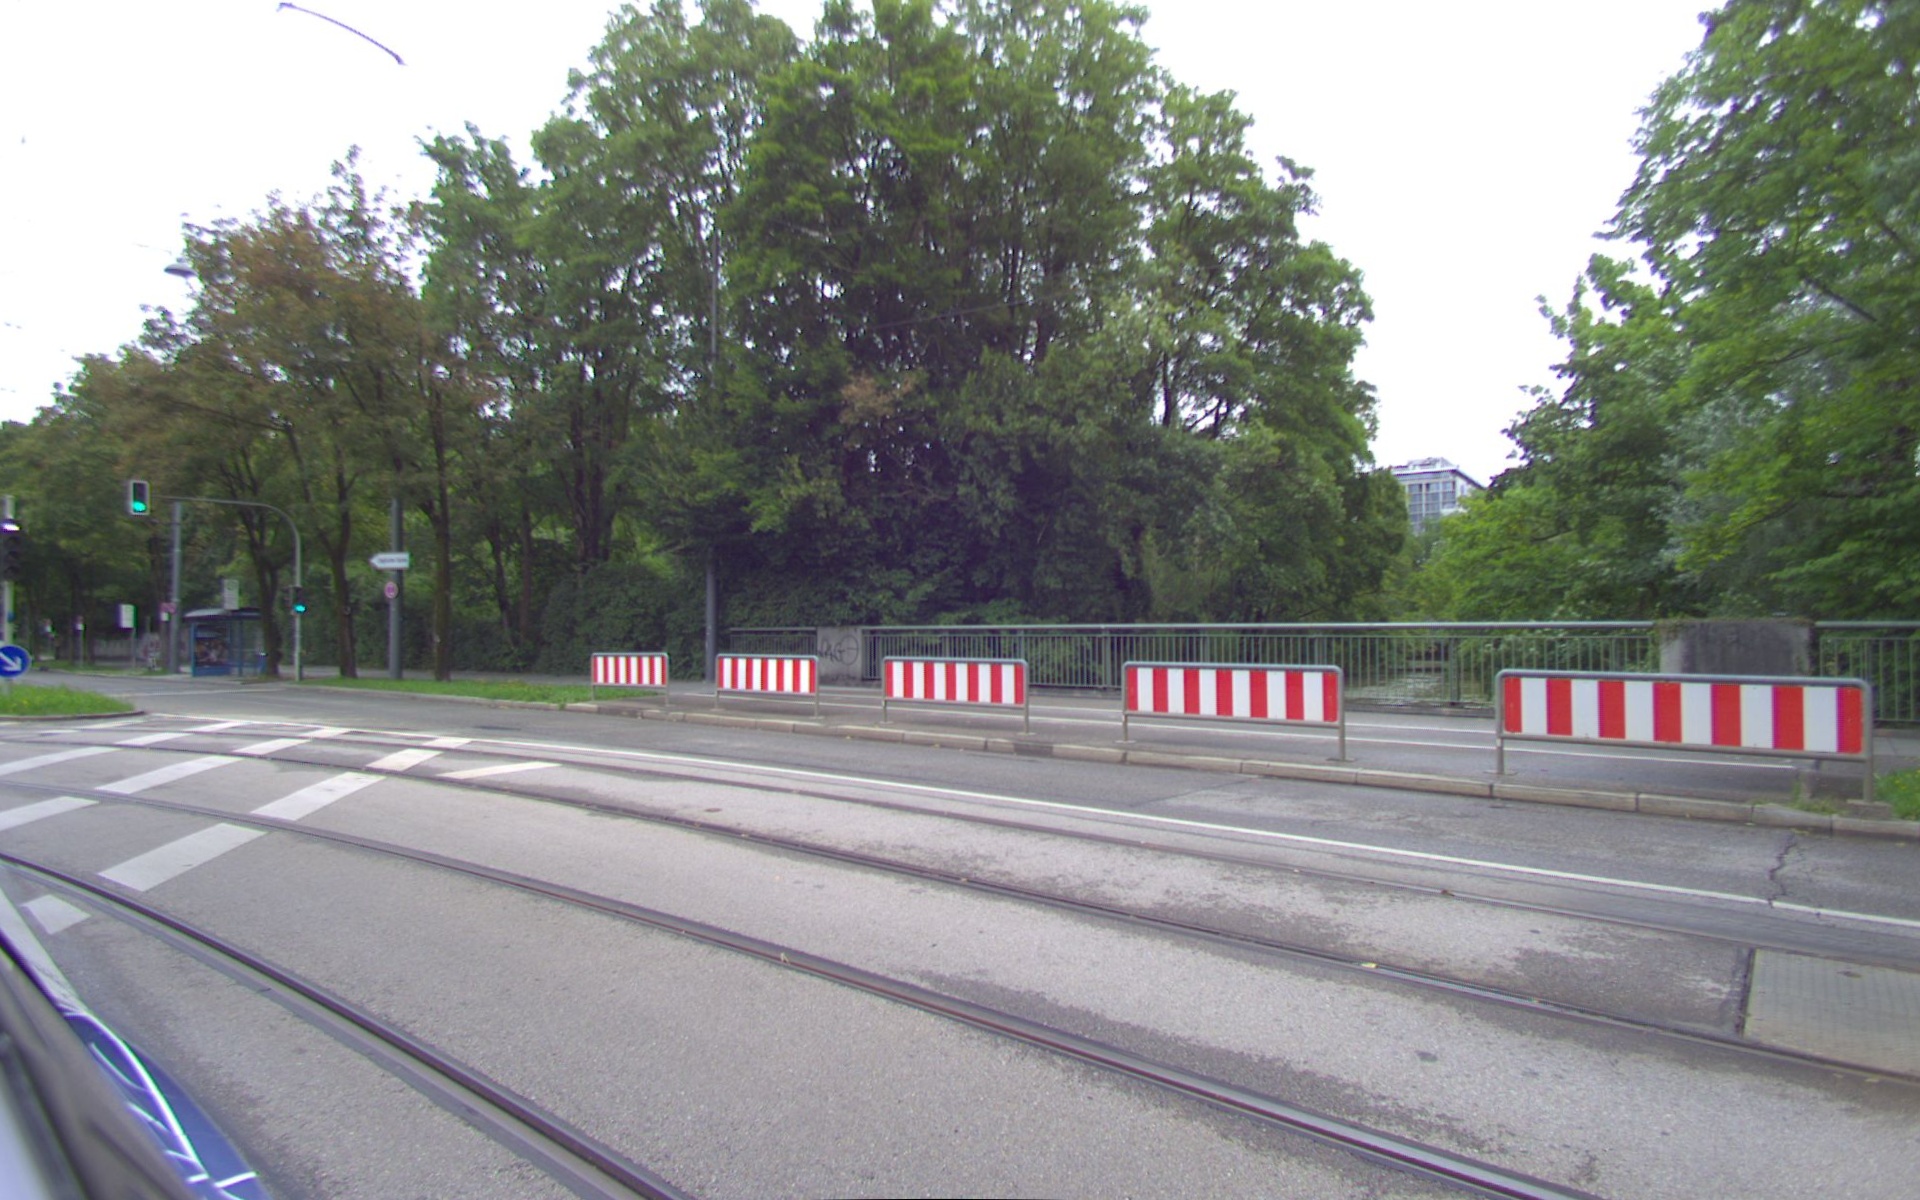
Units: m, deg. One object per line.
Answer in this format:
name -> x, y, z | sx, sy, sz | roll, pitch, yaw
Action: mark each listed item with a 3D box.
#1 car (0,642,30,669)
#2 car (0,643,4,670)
car -> -60.239, 3.475, 63.759 | 3.996, 1.552, 1.864 | -1, 0, 39
car -> -64.741, 3.771, 66.848 | 3.996, 1.739, 1.864 | -1, 0, 40
